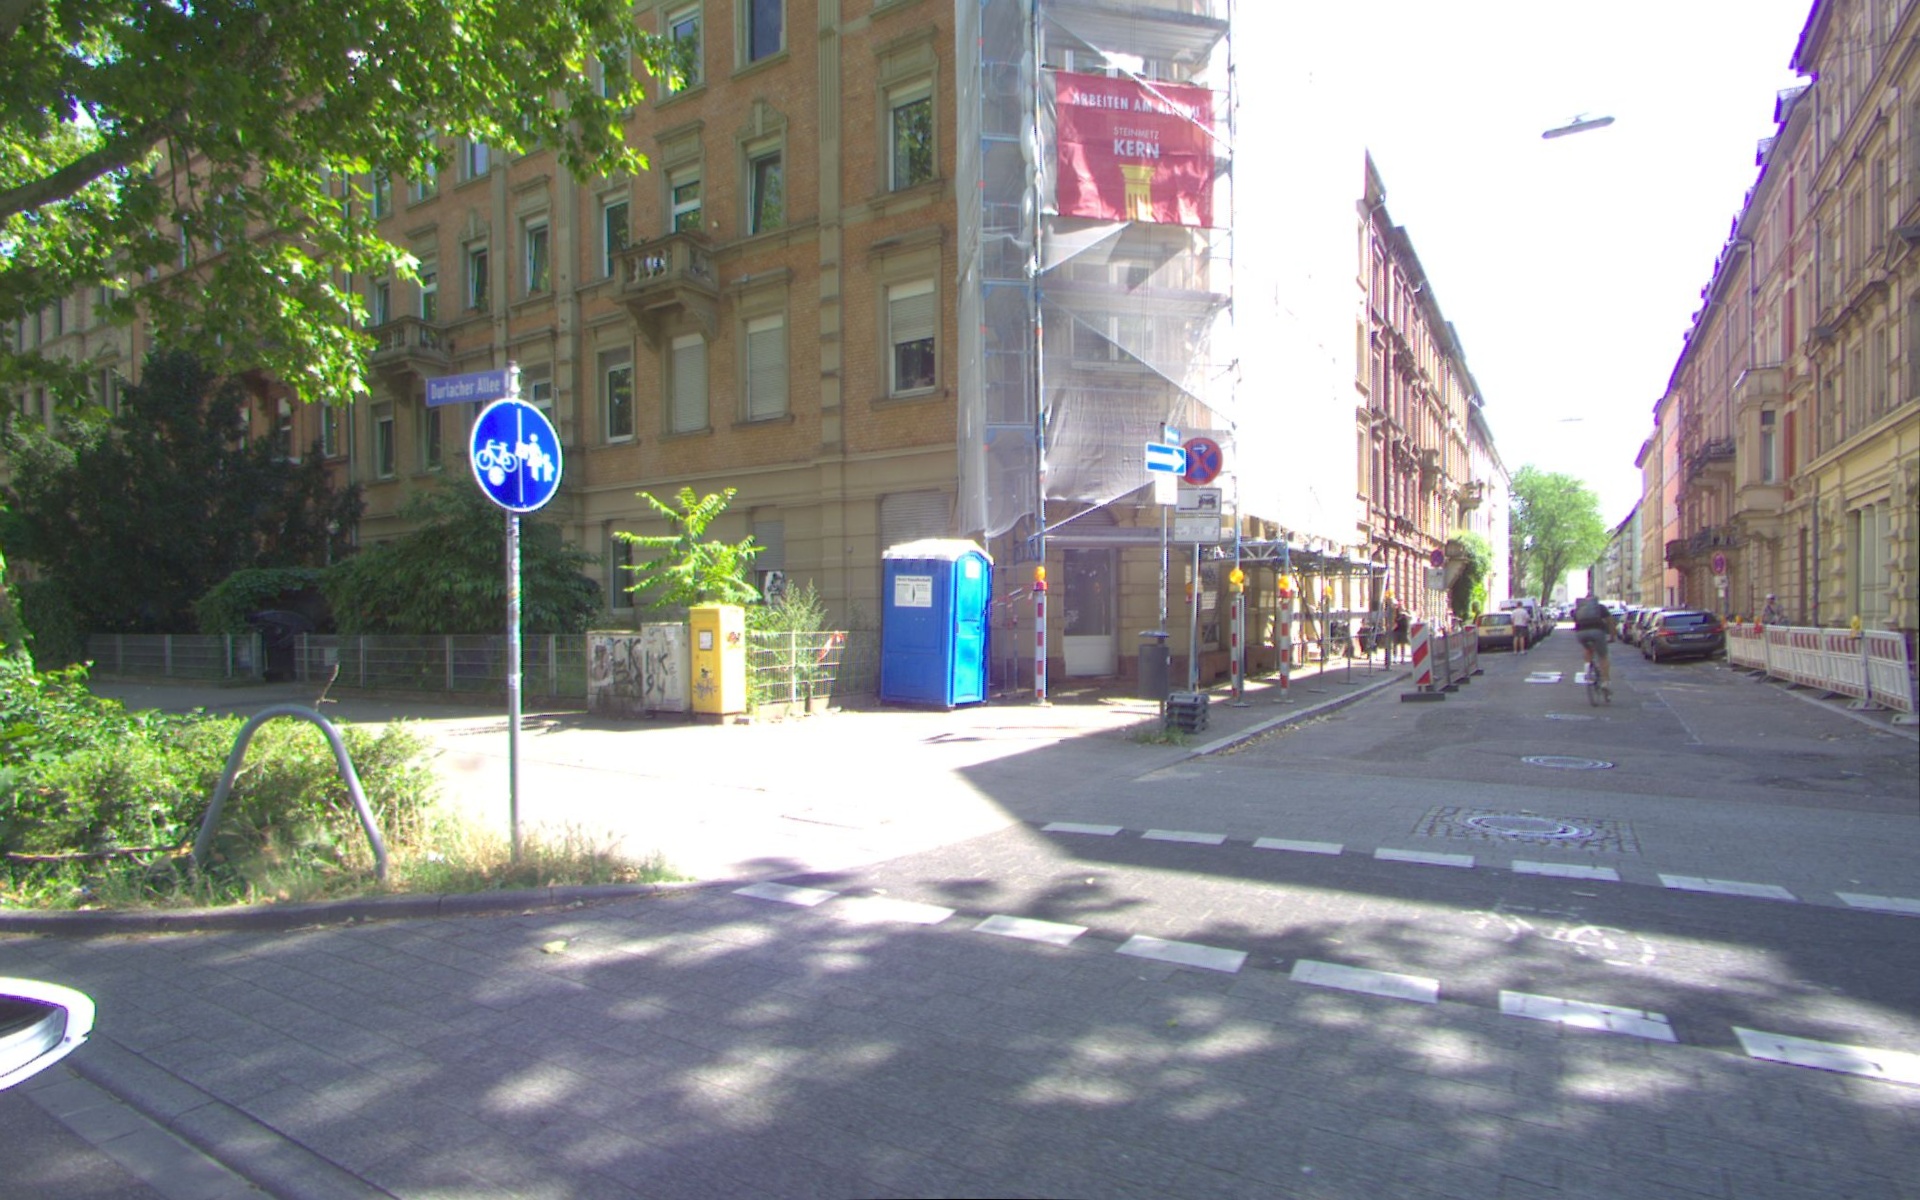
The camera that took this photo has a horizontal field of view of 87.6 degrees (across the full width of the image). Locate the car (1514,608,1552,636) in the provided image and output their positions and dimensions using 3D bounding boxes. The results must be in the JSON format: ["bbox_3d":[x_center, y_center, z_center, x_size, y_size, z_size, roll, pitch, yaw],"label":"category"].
[{"bbox_3d":[35.836,1.357,62.591,1.887,1.732,4.139,-1,-1,33],"label":"car"}]

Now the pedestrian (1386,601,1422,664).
[{"bbox_3d":[12.402,0.905,28.006,0.843,1.748,0.834,-1,0,19],"label":"pedestrian"}]

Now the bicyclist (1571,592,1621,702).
[{"bbox_3d":[9.817,0.707,15.456,0.616,1.644,0.690,0,0,35],"label":"bicyclist"}]

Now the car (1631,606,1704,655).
[{"bbox_3d":[26.993,1.131,38.316,1.971,1.761,3.980,-1,-1,31],"label":"car"}]

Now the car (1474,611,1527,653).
[{"bbox_3d":[20.978,1.196,38.812,1.702,1.549,3.479,-1,-1,31],"label":"car"}]

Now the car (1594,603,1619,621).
[{"bbox_3d":[64.959,1.174,100.662,1.971,1.761,3.980,-1,-1,31],"label":"car"}]

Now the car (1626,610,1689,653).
[{"bbox_3d":[29.899,1.313,43.027,1.971,1.761,3.980,-1,-1,31],"label":"car"}]

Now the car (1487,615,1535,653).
[{"bbox_3d":[23.447,1.415,42.584,1.702,1.549,3.479,-1,-1,30],"label":"car"}]

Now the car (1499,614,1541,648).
[{"bbox_3d":[27.184,1.473,48.591,1.702,1.549,3.479,-1,-1,31],"label":"car"}]

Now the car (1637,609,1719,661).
[{"bbox_3d":[24.446,1.145,34.202,1.971,1.661,3.980,-1,-1,31],"label":"car"}]

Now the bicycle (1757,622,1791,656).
[{"bbox_3d":[24.111,1.149,29.664,0.530,0.991,1.304,0,0,28],"label":"bicycle"}]

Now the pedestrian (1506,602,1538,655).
[{"bbox_3d":[19.641,0.993,35.016,0.922,1.822,1.034,-1,0,29],"label":"pedestrian"}]

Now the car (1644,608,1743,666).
[{"bbox_3d":[21.112,1.019,28.983,1.971,1.572,3.980,-1,-1,31],"label":"car"}]

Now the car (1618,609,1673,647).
[{"bbox_3d":[33.065,1.312,48.385,1.971,1.761,3.980,-1,-1,31],"label":"car"}]

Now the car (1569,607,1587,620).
[{"bbox_3d":[82.247,1.768,133.246,1.971,1.761,3.980,-1,-1,31],"label":"car"}]

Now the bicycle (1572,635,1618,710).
[{"bbox_3d":[9.891,1.090,15.579,0.525,1.062,1.914,0,0,35],"label":"bicycle"}]

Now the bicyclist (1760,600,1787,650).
[{"bbox_3d":[24.134,0.729,29.707,0.525,1.472,0.459,0,0,29],"label":"bicyclist"}]

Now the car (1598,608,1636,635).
[{"bbox_3d":[44.455,1.437,67.818,1.971,1.761,3.980,-1,-1,31],"label":"car"}]

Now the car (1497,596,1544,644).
[{"bbox_3d":[29.716,1.057,53.048,1.887,2.405,4.224,-1,-1,33],"label":"car"}]
